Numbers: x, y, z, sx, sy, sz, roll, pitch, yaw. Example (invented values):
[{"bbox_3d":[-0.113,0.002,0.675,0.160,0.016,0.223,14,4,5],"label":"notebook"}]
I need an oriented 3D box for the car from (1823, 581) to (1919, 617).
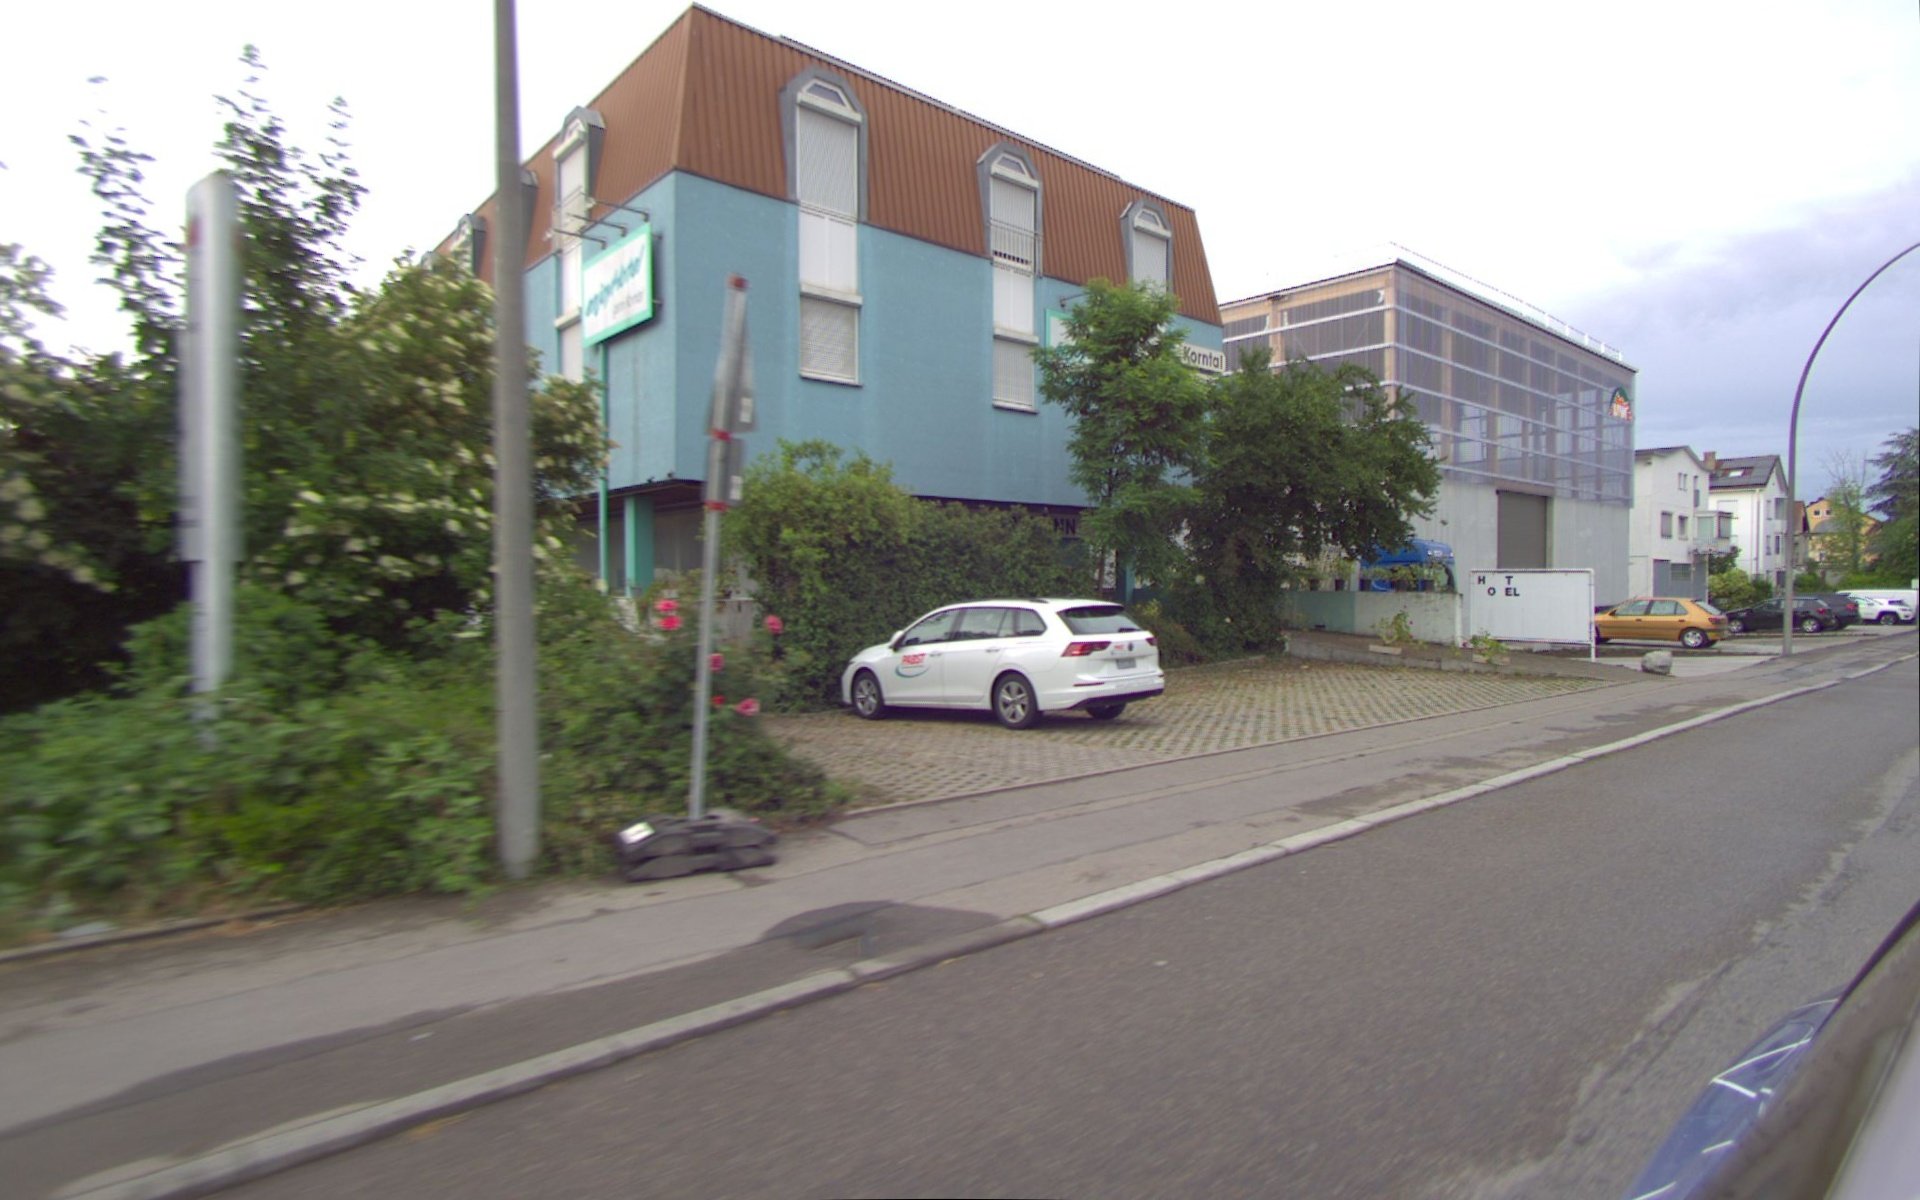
[{"bbox_3d":[50.269,-0.049,55.086,1.965,1.910,4.740,-1,0,-40],"label":"car"}]

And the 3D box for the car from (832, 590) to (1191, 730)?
[{"bbox_3d":[0.451,0.623,12.486,1.848,1.410,4.420,0,-1,-42],"label":"car"}]

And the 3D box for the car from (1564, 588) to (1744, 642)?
[{"bbox_3d":[19.665,0.384,28.799,1.603,1.448,3.992,0,0,-42],"label":"car"}]

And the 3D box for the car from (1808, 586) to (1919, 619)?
[{"bbox_3d":[46.300,0.132,51.617,1.861,1.645,4.452,-1,0,-41],"label":"car"}]

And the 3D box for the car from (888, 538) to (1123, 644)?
[{"bbox_3d":[0.951,-0.176,19.194,4.356,1.762,1.995,-1,0,-44],"label":"car"}]

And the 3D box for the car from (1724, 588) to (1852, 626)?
[{"bbox_3d":[35.779,0.318,43.812,1.800,1.509,3.974,-1,-1,-39],"label":"car"}]

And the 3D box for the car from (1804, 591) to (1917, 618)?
[{"bbox_3d":[47.937,0.247,53.927,1.818,1.396,4.326,-1,0,-41],"label":"car"}]

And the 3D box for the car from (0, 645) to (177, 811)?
[{"bbox_3d":[-10.853,1.402,10.986,3.595,1.605,1.801,-1,0,-43],"label":"car"}]

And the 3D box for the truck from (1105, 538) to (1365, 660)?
[{"bbox_3d":[9.272,0.021,35.185,2.676,3.754,8.543,-1,-1,-42],"label":"truck"}]

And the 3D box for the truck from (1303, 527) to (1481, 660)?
[{"bbox_3d":[13.131,-0.127,30.905,2.675,3.721,4.147,-1,-2,-43],"label":"truck"}]

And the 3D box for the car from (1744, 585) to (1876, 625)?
[{"bbox_3d":[37.896,0.240,45.181,1.946,1.696,4.233,-1,0,-41],"label":"car"}]
